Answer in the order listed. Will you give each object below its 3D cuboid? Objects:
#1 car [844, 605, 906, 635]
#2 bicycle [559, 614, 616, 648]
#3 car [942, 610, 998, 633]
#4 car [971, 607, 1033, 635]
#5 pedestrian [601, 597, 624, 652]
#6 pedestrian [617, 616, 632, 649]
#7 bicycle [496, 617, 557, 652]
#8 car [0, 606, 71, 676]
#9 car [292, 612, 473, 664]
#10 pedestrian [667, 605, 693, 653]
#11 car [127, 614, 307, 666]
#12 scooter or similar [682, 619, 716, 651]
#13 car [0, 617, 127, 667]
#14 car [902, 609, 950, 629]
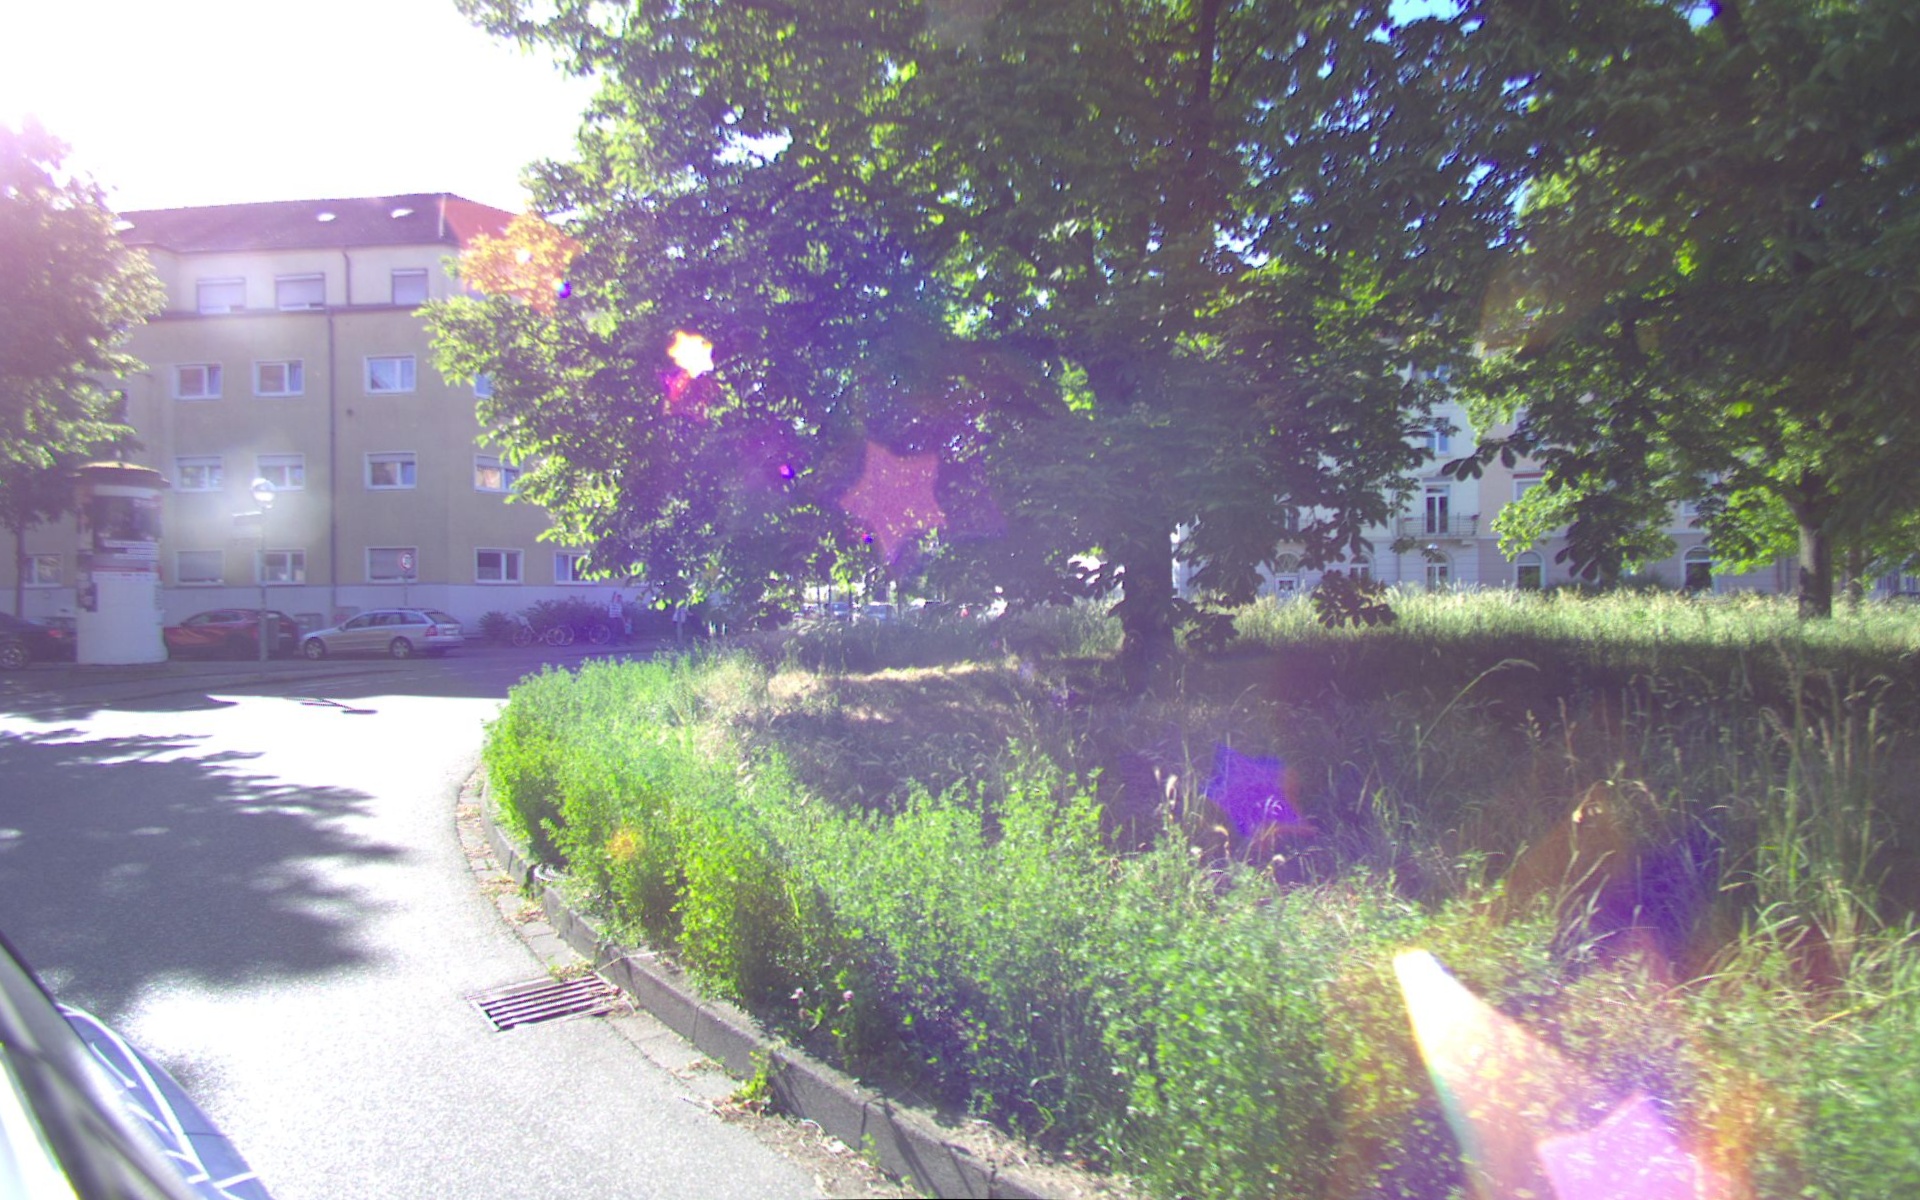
[{"bbox_3d":[-4.407,1.023,52.006,1.773,1.422,4.013,-1,-1,-26],"label":"car"},{"bbox_3d":[-12.360,1.024,33.621,1.769,1.116,0.502,-1,-1,-18],"label":"bicycle"},{"bbox_3d":[0.512,1.229,57.884,1.769,1.265,3.731,0,-1,-24],"label":"car"},{"bbox_3d":[2.197,1.122,54.055,1.769,1.423,4.013,0,-1,-23],"label":"car"},{"bbox_3d":[-11.123,0.792,32.421,0.599,1.705,0.556,-1,3,-15],"label":"pedestrian"},{"bbox_3d":[-10.967,1.062,33.095,0.400,1.047,0.377,-1,3,-15],"label":"pedestrian"},{"bbox_3d":[-14.159,1.131,33.065,1.773,1.116,0.500,-1,-1,-4],"label":"bicycle"},{"bbox_3d":[-21.595,0.888,21.541,3.941,1.484,1.761,0,-1,-45],"label":"car"},{"bbox_3d":[-16.773,1.096,29.468,4.435,1.422,1.729,-1,-1,7],"label":"car"},{"bbox_3d":[-9.159,0.934,33.081,0.685,1.535,0.652,0,-1,-30],"label":"pedestrian"},{"bbox_3d":[-22.002,1.167,30.044,4.334,1.450,1.732,-1,-1,7],"label":"car"},{"bbox_3d":[-8.674,1.159,33.665,0.883,1.031,0.920,0,-1,-29],"label":"scooter or similar"},{"bbox_3d":[-28.078,1.259,30.806,4.334,1.450,1.732,-1,-1,7],"label":"car"},{"bbox_3d":[-2.209,1.208,64.454,1.769,1.265,3.731,0,-1,-24],"label":"car"}]
